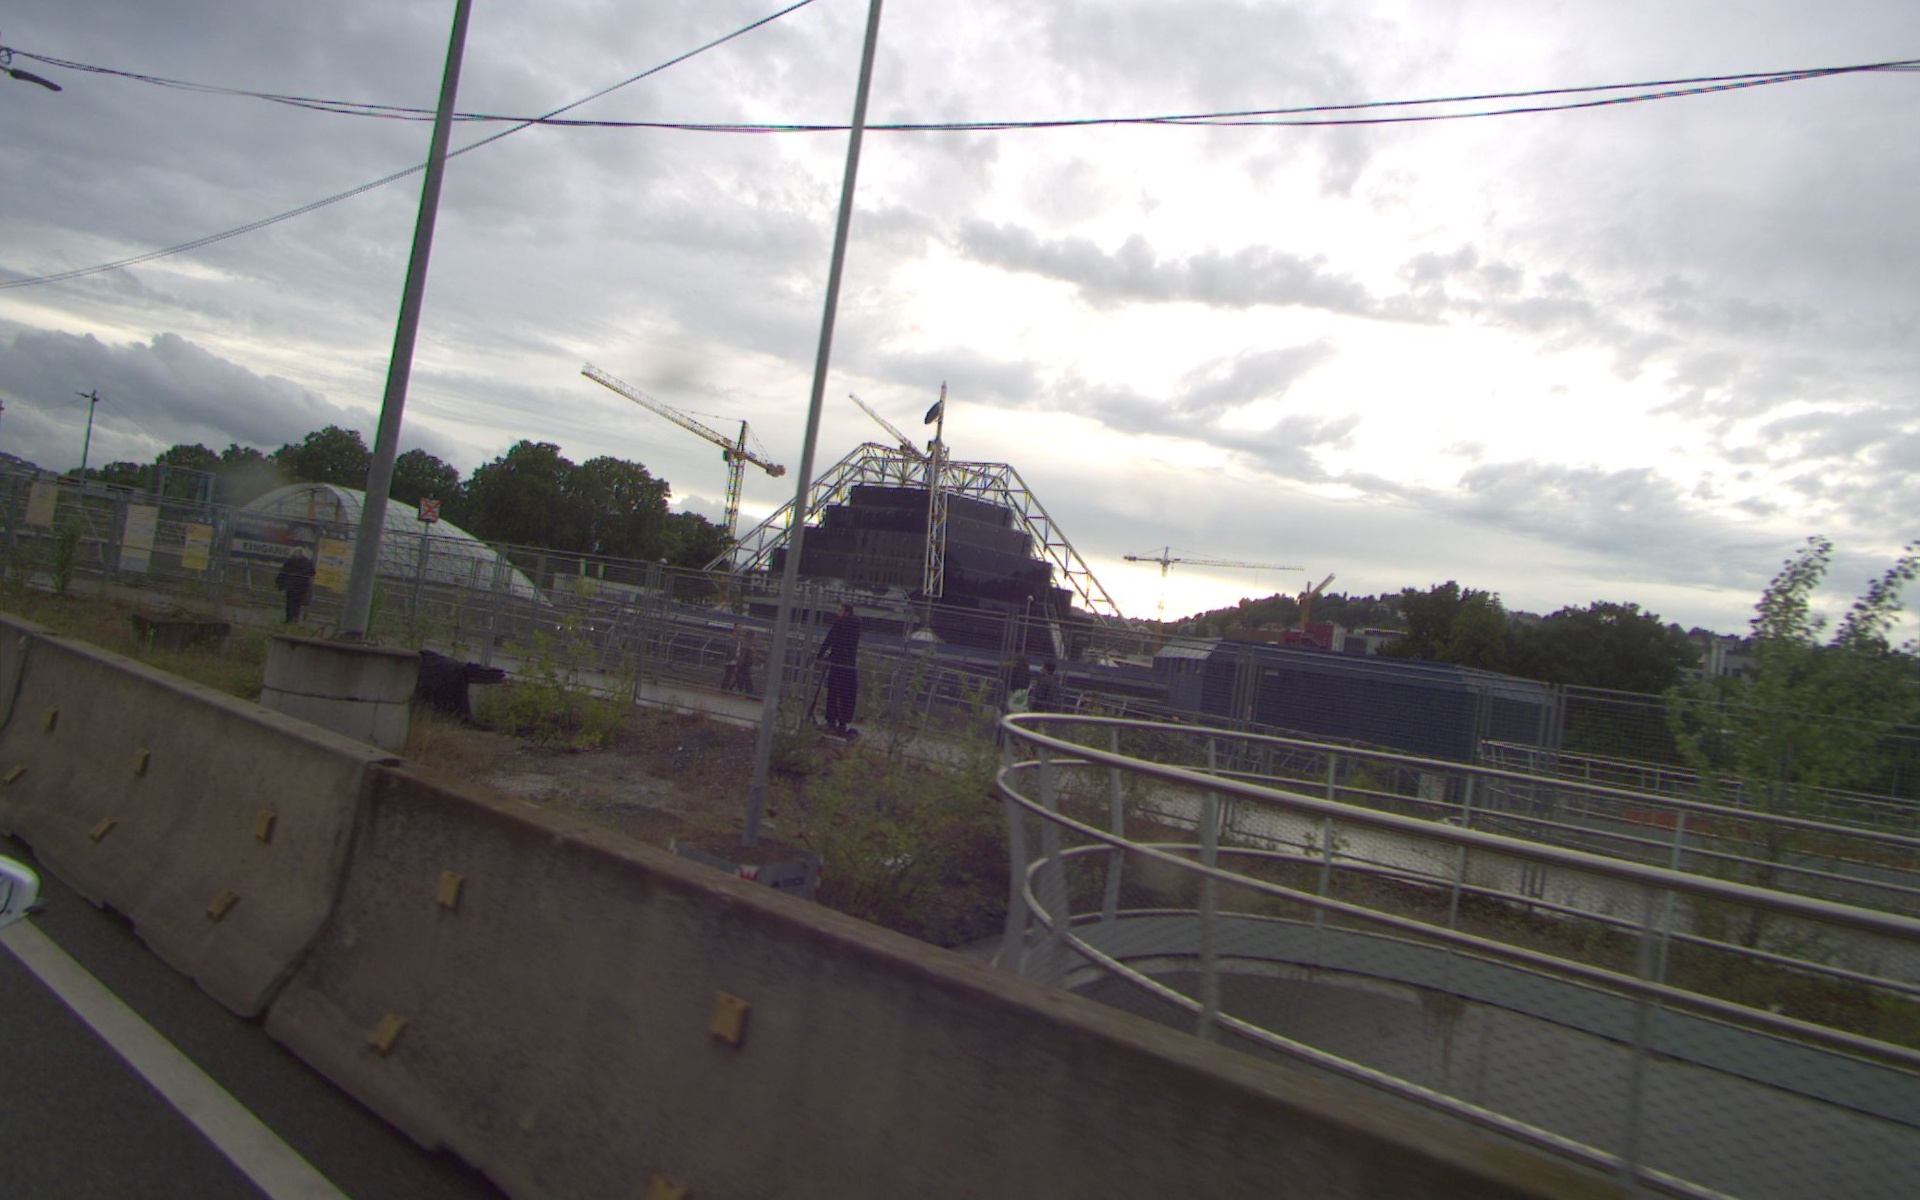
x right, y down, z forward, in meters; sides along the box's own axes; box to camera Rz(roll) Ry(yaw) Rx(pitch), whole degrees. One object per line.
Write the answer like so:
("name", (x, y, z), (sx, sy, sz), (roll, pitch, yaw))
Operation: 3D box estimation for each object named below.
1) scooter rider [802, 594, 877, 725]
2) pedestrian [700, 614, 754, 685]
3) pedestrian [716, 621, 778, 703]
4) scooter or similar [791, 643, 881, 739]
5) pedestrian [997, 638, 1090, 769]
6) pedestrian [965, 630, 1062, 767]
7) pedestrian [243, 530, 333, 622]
("scooter rider", (-1.719, 0.849, 14.373), (0.688, 1.776, 0.522), (7, 0, 33))
("pedestrian", (-5.279, 1.111, 22.837), (0.876, 1.489, 0.692), (7, -1, 2))
("pedestrian", (-4.657, 1.348, 22.058), (1.004, 1.652, 0.692), (7, -1, 2))
("scooter or similar", (-1.781, 1.294, 14.373), (1.078, 1.194, 0.491), (7, 0, 33))
("pedestrian", (1.254, 1.531, 15.084), (1.005, 1.799, 0.727), (6, -1, 29))
("pedestrian", (0.773, 1.392, 14.383), (1.005, 1.799, 0.691), (6, -1, 26))
("pedestrian", (-13.392, -0.458, 20.087), (0.882, 1.677, 1.024), (7, -1, 4))
